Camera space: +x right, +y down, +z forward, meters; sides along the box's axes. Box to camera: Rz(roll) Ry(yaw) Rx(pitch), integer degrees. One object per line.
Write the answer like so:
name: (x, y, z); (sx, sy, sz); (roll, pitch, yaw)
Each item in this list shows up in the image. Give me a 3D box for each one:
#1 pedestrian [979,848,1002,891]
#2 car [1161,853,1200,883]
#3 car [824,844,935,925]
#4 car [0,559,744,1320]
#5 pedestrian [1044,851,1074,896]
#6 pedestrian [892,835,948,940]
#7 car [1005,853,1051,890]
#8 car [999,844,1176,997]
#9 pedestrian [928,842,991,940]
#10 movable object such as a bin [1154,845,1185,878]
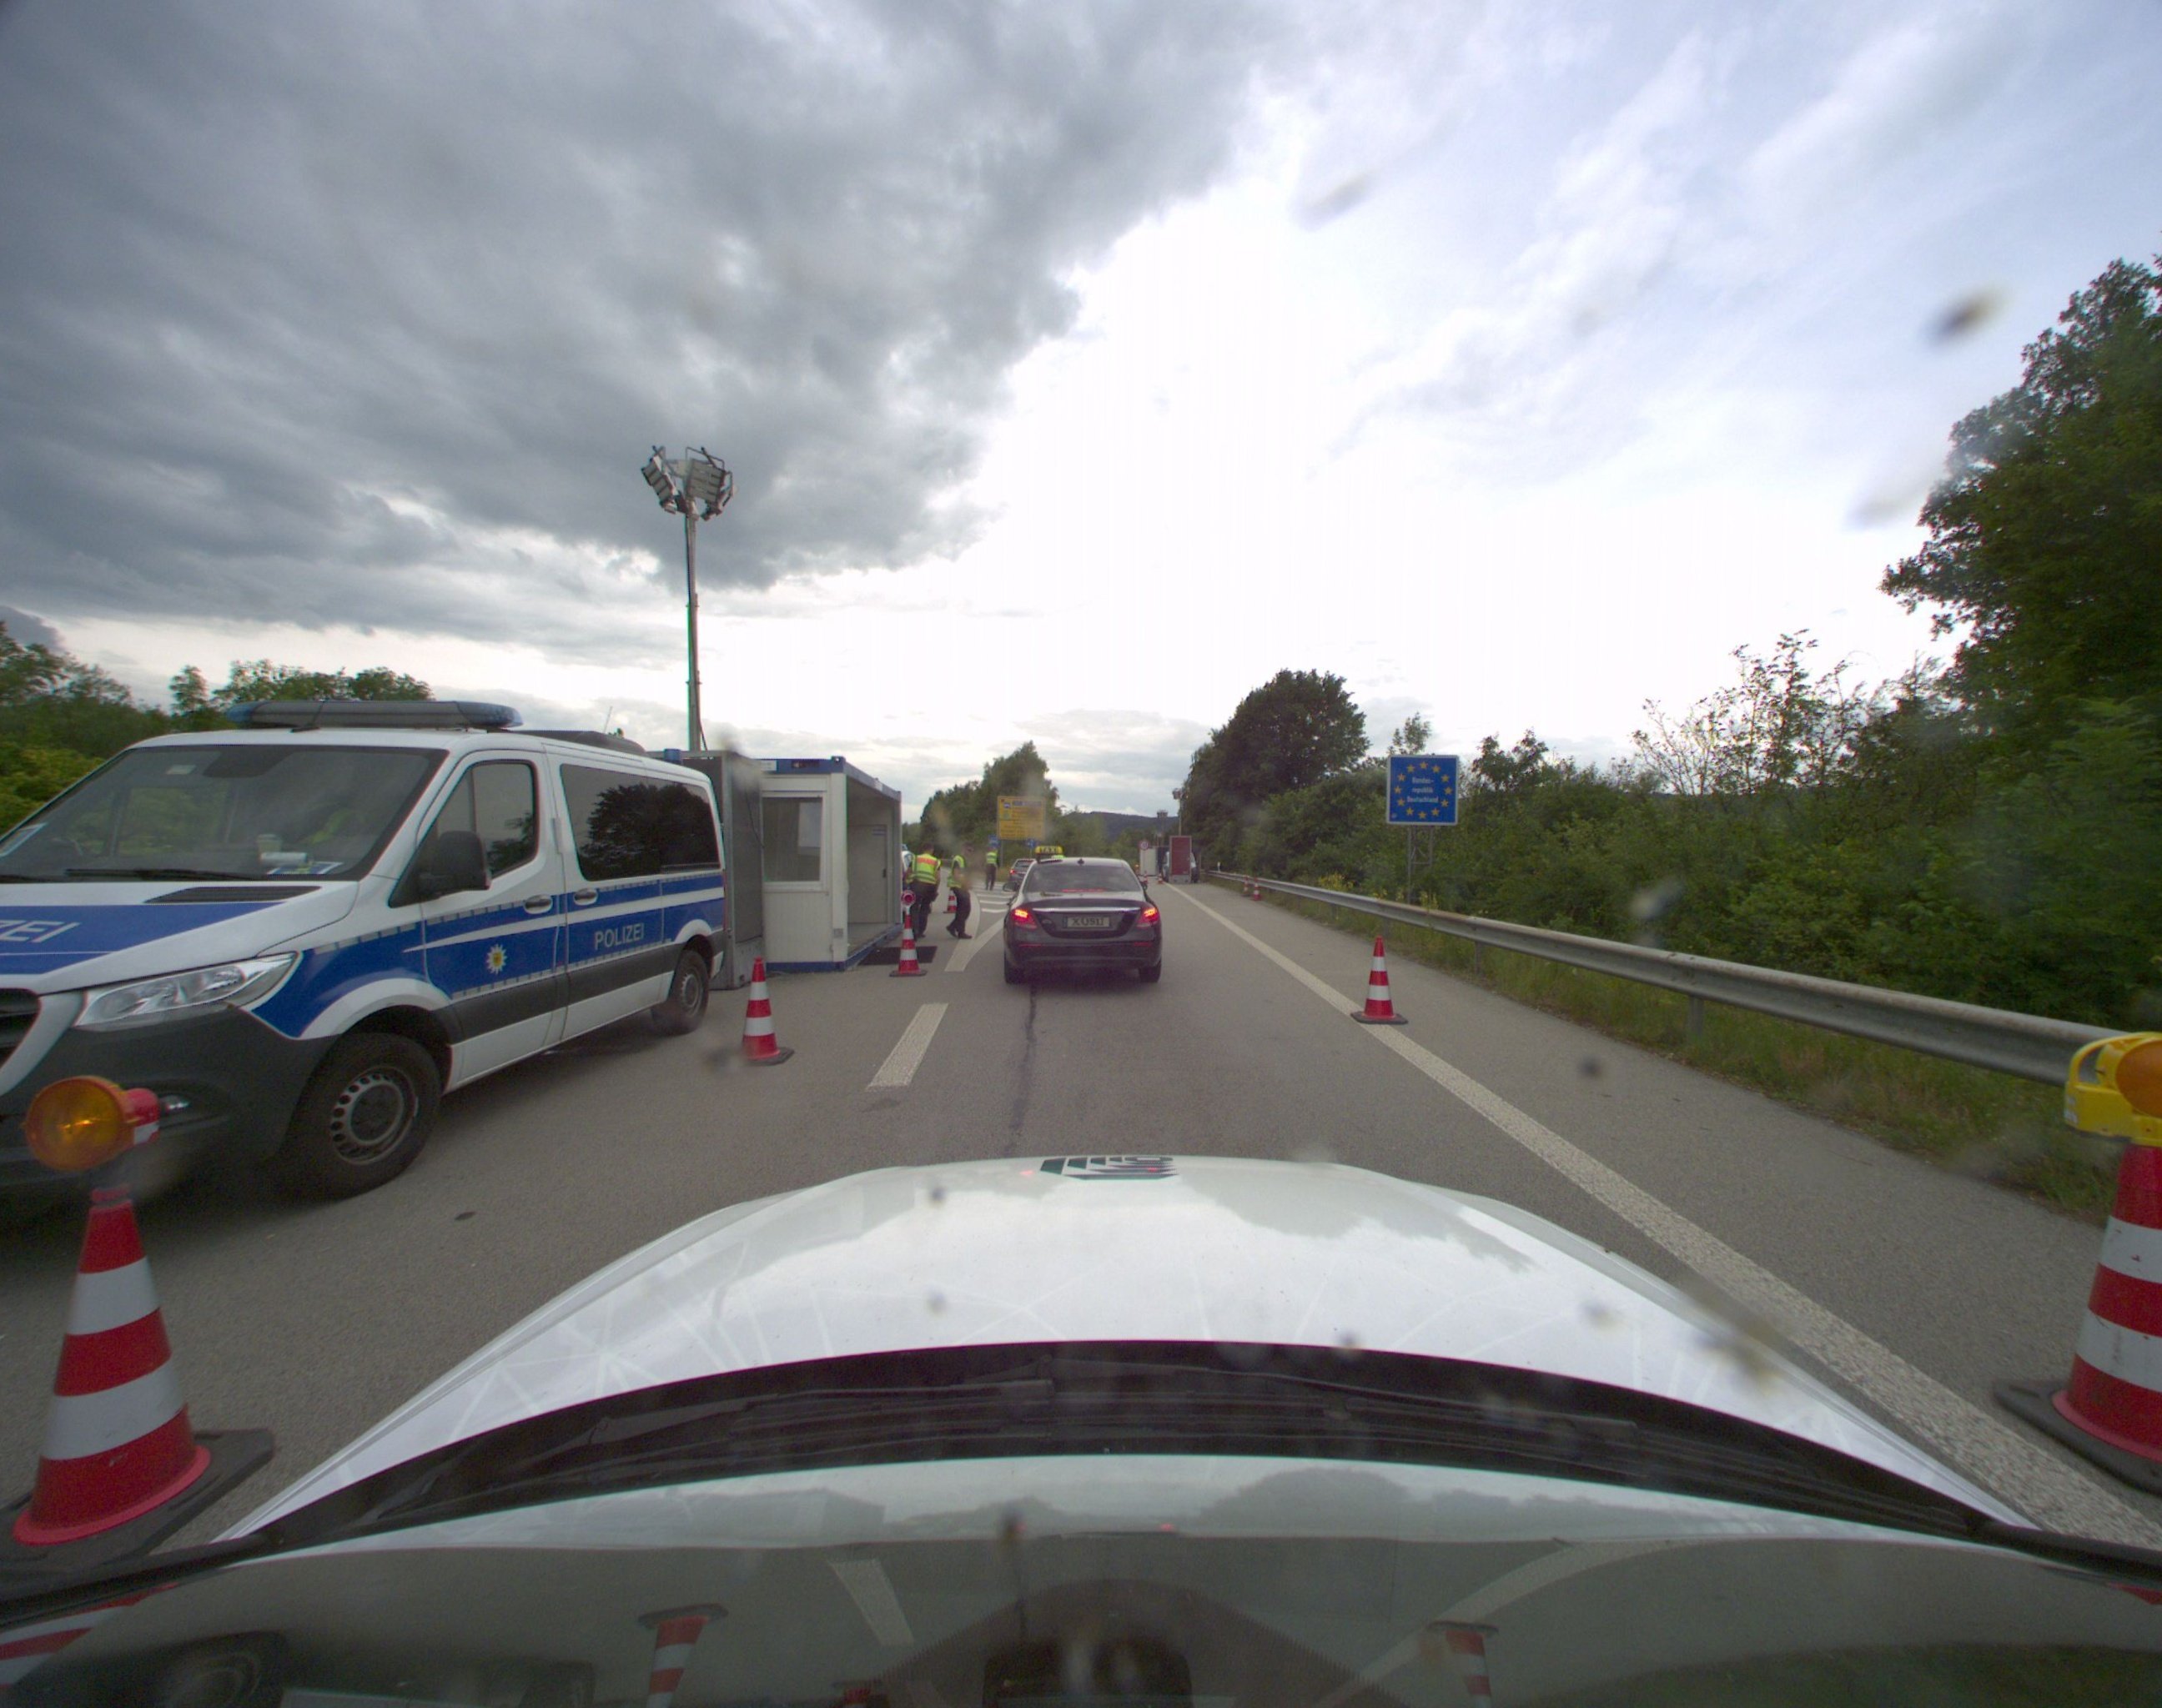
pedestrian: (-3.747, 0.621, 33.703); (0.907, 1.769, 0.912); (0, 0, -4)
car: (6.095, 0.810, 50.372); (1.909, 1.678, 5.086); (1, 0, 2)
car: (-4.763, 0.669, 19.783); (1.865, 1.743, 4.003); (0, 0, -3)
car: (-4.185, 0.279, 5.236); (2.024, 2.463, 5.274); (0, 0, -3)
pedestrian: (-0.868, 0.747, 31.867); (0.912, 1.698, 0.907); (0, 0, -21)
pedestrian: (-2.874, 0.585, 14.619); (0.809, 1.830, 0.809); (-1, 0, 0)
car: (-2.227, 0.733, 35.419); (1.850, 1.498, 4.253); (0, 0, -2)
car: (-0.018, 0.694, 10.770); (1.851, 1.595, 4.371); (0, 0, -3)
pedestrian: (-2.194, 0.648, 14.708); (0.808, 1.718, 0.767); (-1, -1, 27)
movable object such as a bin: (6.393, 0.518, 59.215); (1.985, 2.280, 4.171); (0, 0, 3)
